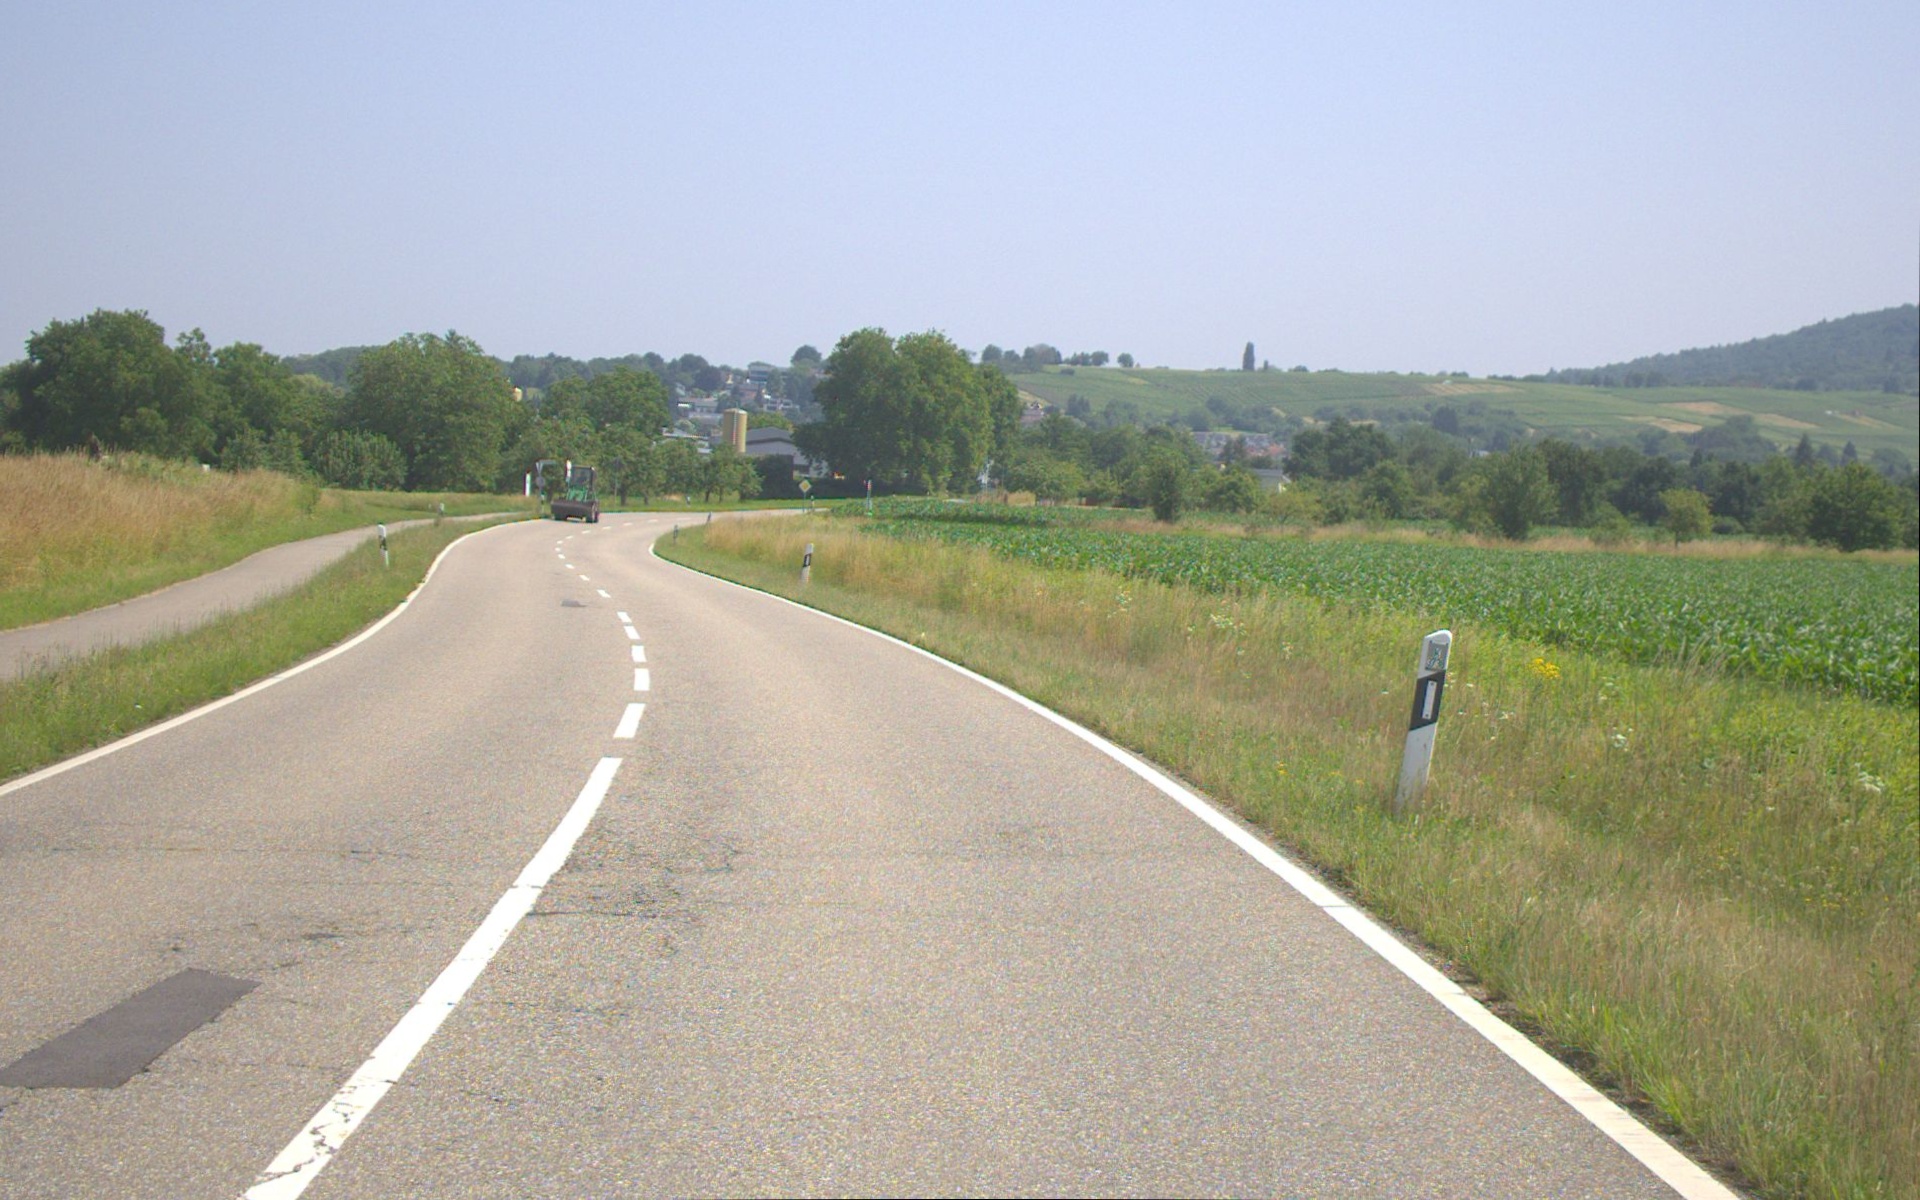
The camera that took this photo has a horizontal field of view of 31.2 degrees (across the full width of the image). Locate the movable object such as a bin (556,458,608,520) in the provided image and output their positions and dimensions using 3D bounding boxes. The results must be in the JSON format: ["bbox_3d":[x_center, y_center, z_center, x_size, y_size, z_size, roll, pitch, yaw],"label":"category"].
[{"bbox_3d":[-17.972,-5.287,163.816,2.001,2.745,5.231,5,2,-4],"label":"movable object such as a bin"}]
